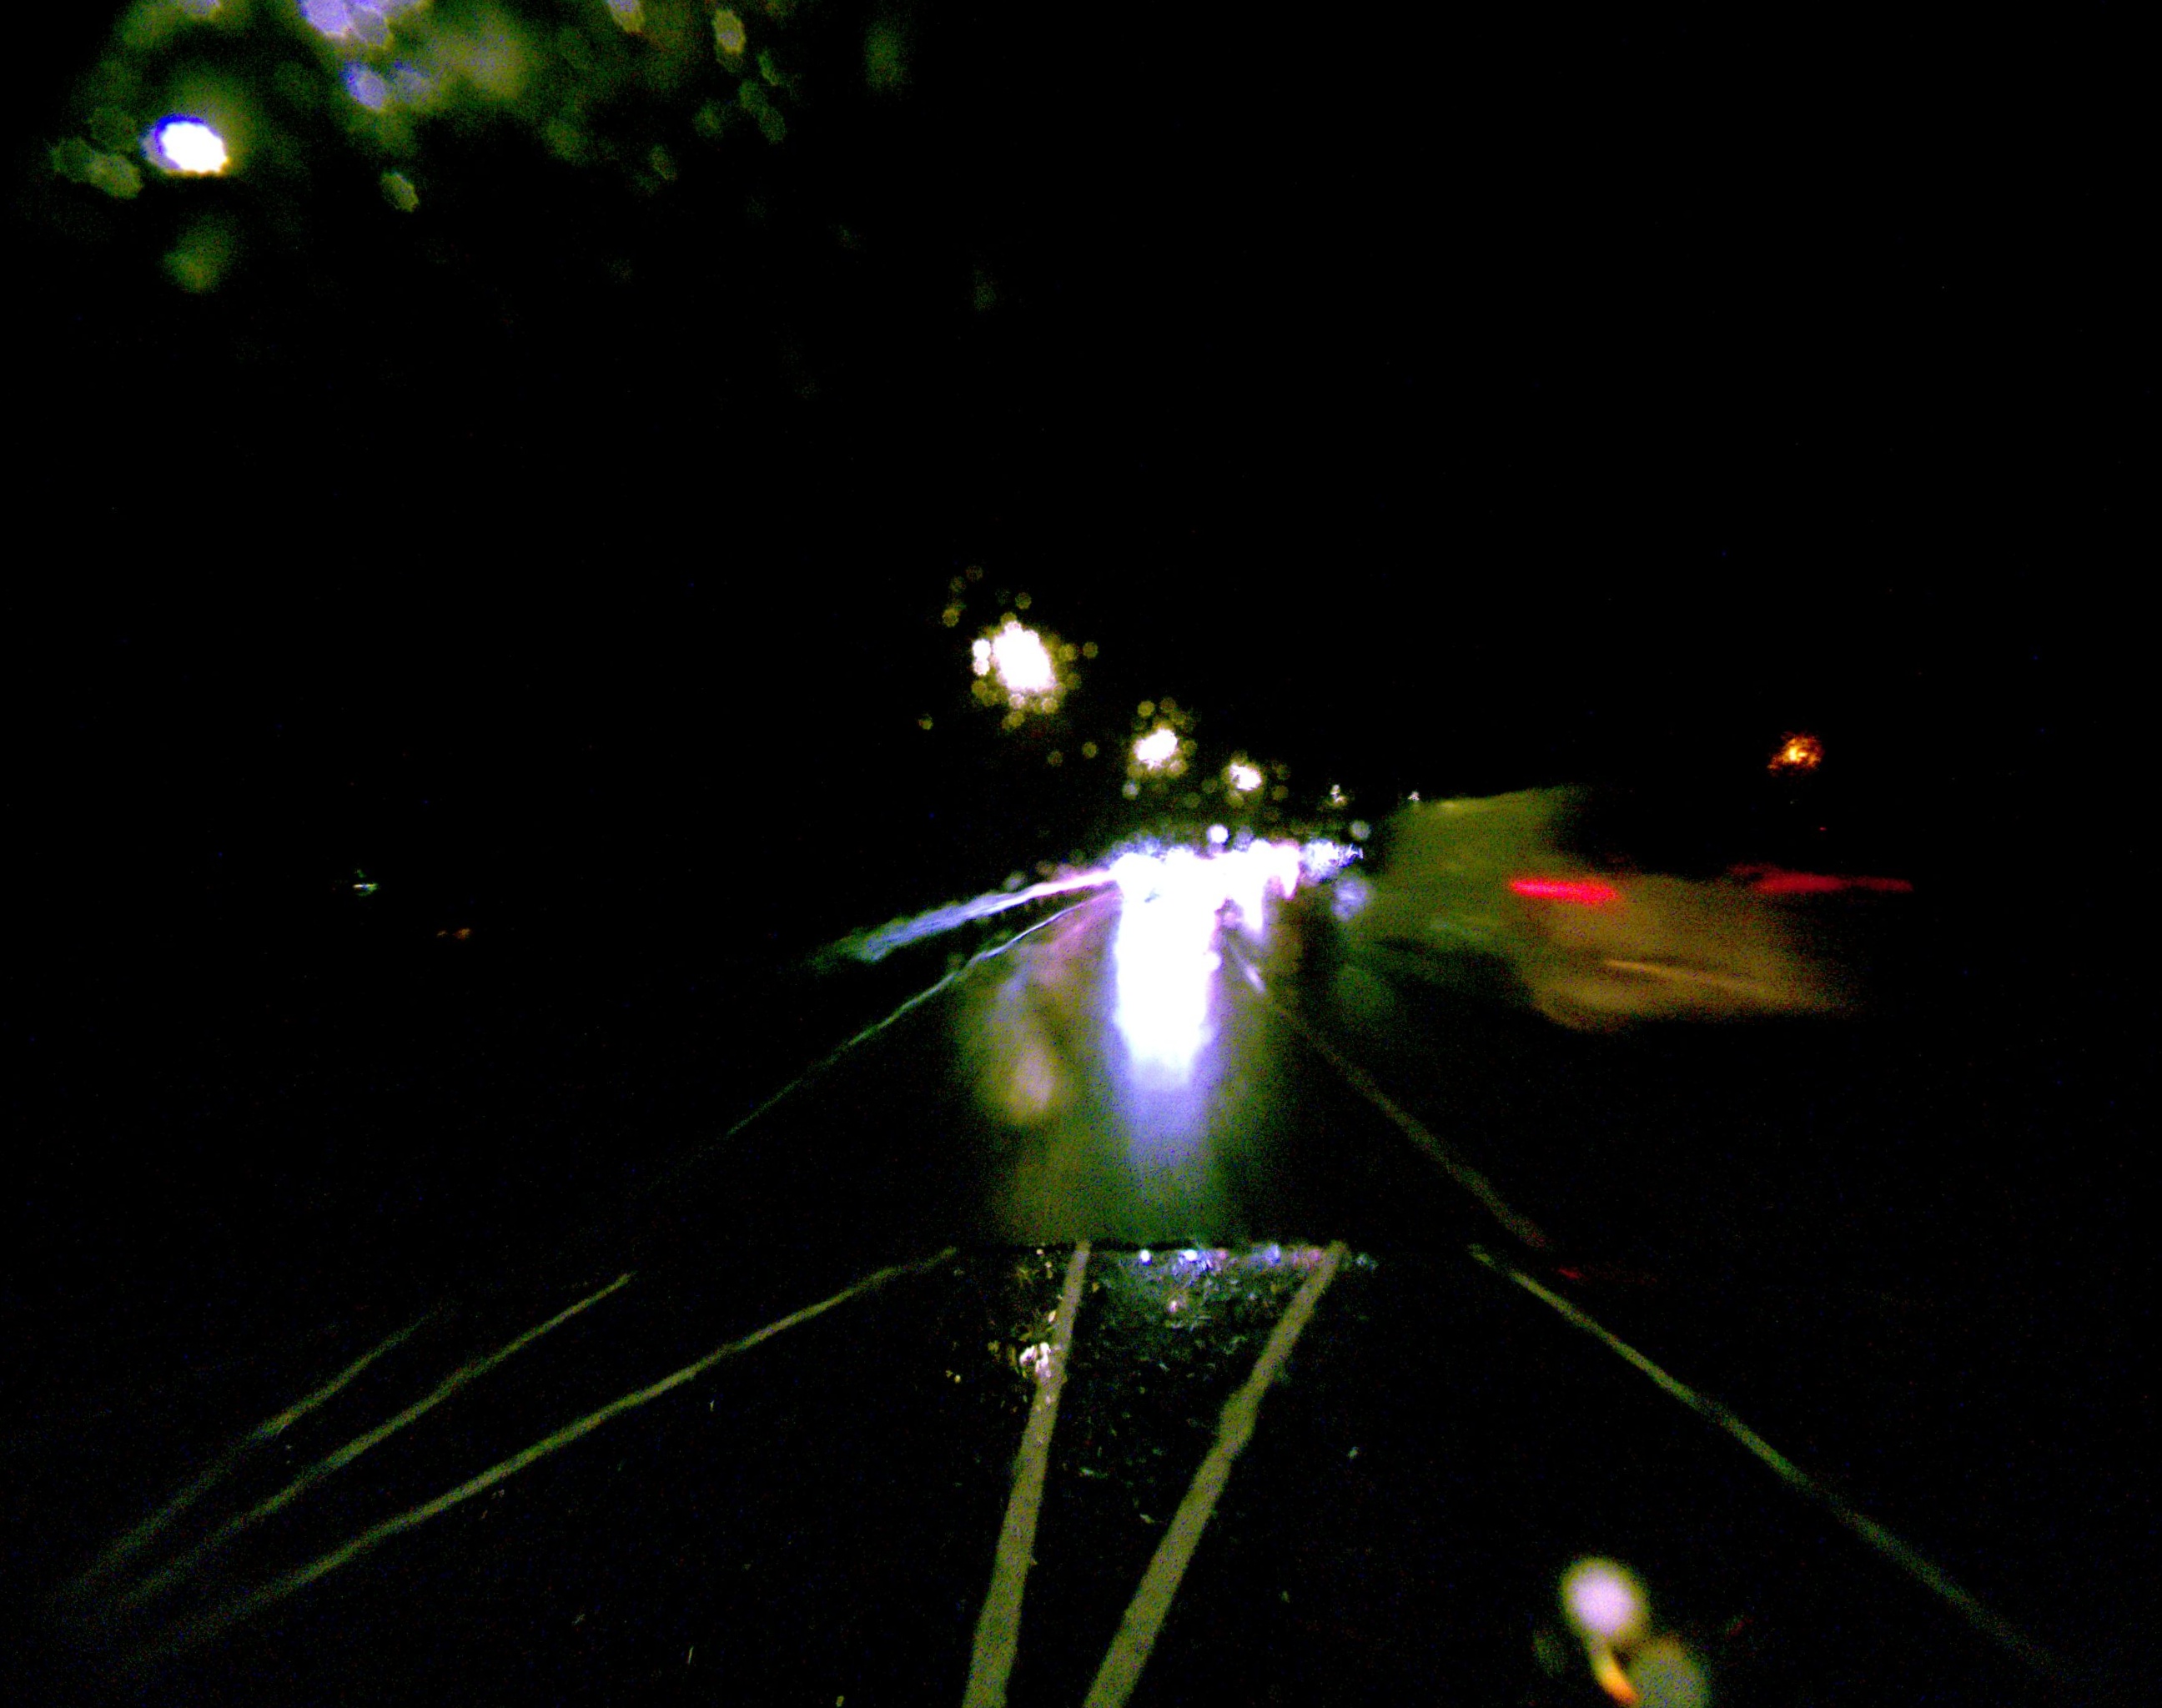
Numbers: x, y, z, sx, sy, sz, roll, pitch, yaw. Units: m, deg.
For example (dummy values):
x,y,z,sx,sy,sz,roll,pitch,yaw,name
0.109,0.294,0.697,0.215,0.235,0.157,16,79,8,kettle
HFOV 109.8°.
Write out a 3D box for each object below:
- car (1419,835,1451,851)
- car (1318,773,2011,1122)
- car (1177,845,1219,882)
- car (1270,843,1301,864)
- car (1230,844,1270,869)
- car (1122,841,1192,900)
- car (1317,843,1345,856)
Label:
x,y,z,sx,sy,sz,roll,pitch,yaw,name
49.521,-1.524,106.330,4.425,2.079,2.375,-2,0,-42,car
4.276,0.558,7.214,2.455,1.976,5.494,-2,0,2,car
6.614,0.496,42.521,1.997,1.923,4.004,-2,0,12,car
20.019,-0.089,74.239,1.995,1.923,4.007,-2,0,28,car
13.635,0.200,61.063,1.995,1.923,4.007,-2,0,29,car
2.751,0.547,26.713,1.935,1.861,4.004,-2,0,12,car
29.131,-0.527,88.465,1.995,1.475,4.008,-2,0,35,car
